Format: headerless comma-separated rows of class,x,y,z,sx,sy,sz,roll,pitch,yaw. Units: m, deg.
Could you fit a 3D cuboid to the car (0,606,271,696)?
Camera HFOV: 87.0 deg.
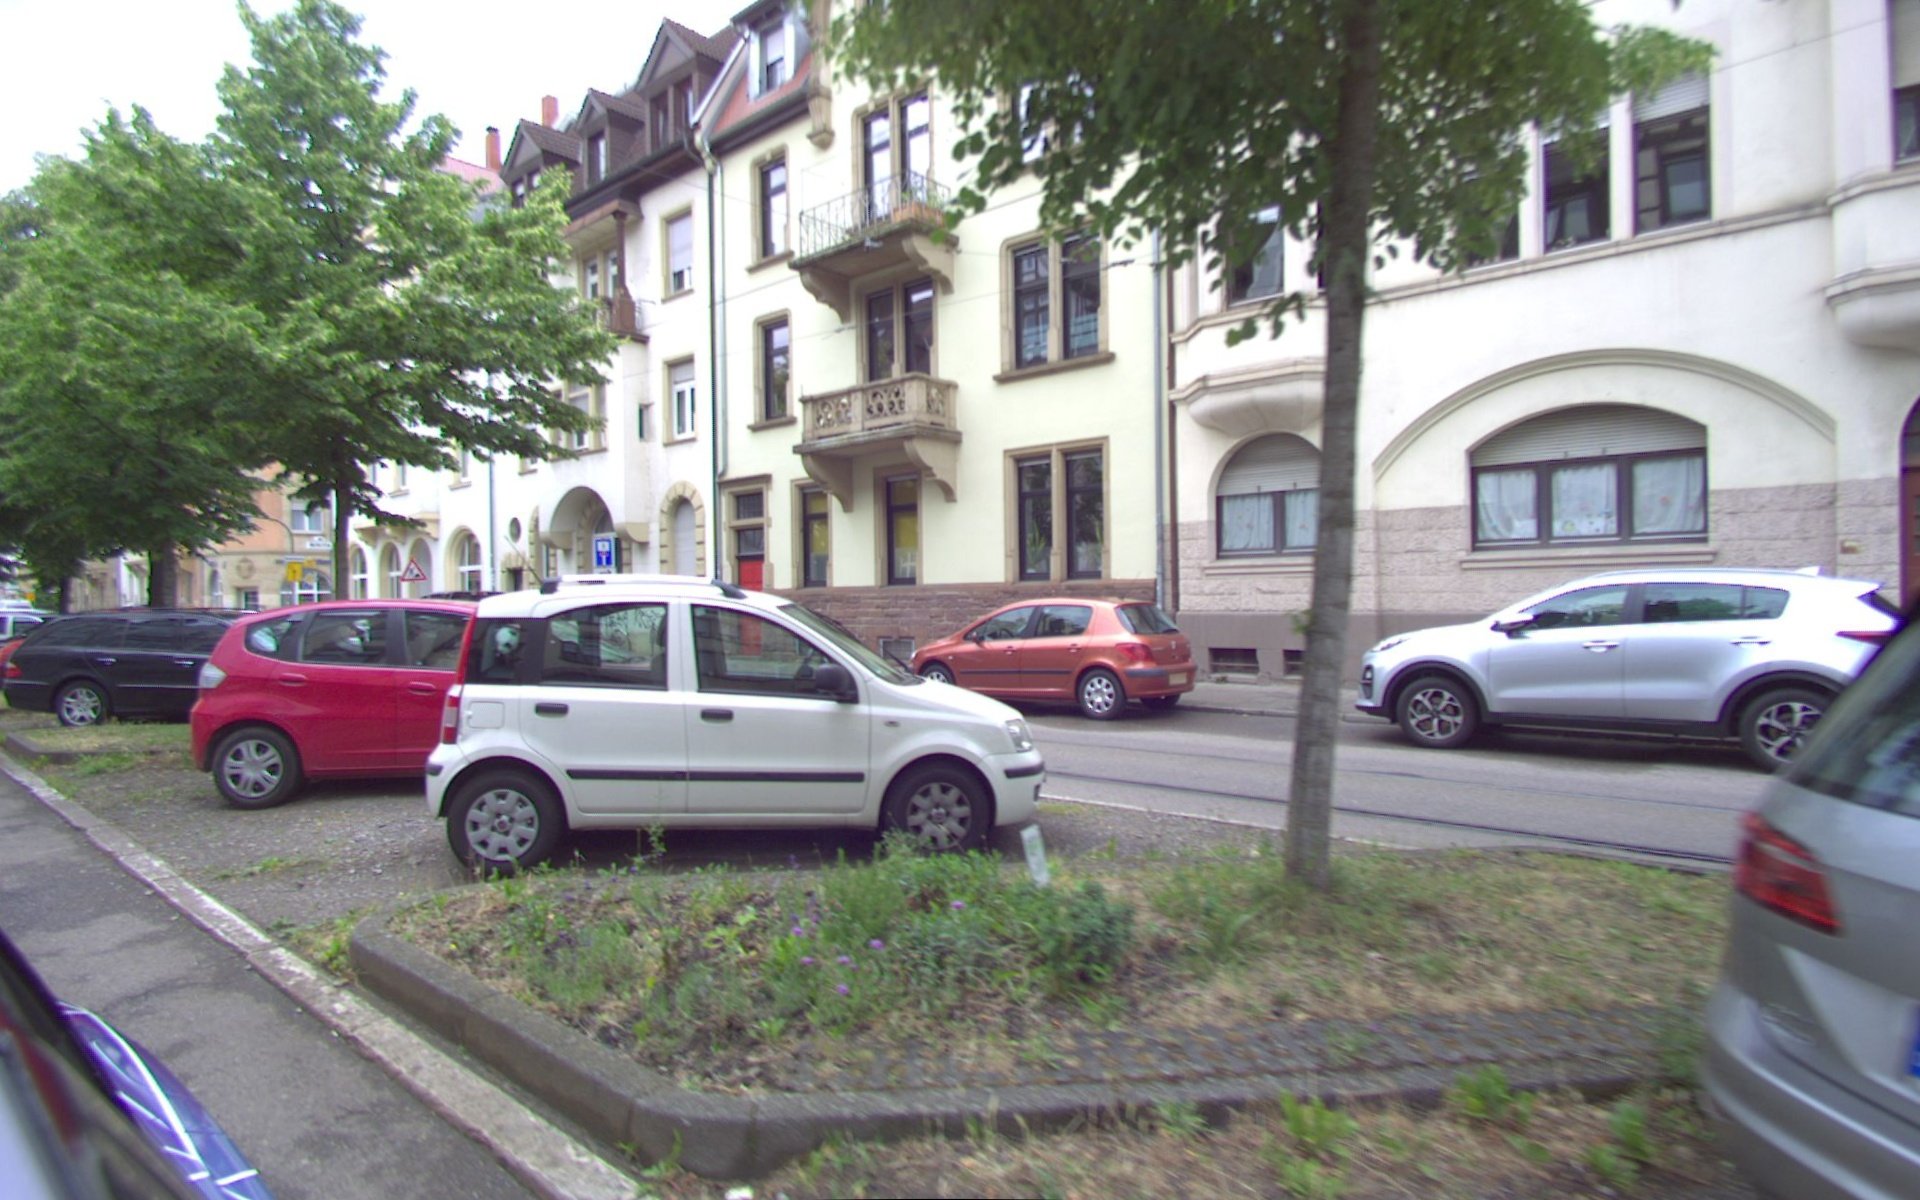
car,-14.484,0.867,17.653,3.680,1.399,1.792,-1,-2,-5

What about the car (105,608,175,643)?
car,-40.271,1.216,49.666,4.508,1.617,1.773,-1,0,39

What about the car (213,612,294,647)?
car,-26.348,1.080,37.726,3.377,1.185,1.619,-1,0,39

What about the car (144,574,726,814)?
car,-3.948,0.650,8.144,3.756,1.538,1.677,-3,1,-4

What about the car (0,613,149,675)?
car,-22.699,1.084,24.851,3.935,1.426,1.902,-1,-2,-11

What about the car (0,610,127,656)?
car,-30.391,1.087,33.608,3.931,1.426,1.904,-1,-2,-29

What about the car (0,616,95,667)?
car,-27.863,1.226,29.267,3.935,1.426,1.902,-1,-2,-11

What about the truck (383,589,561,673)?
truck,-12.440,0.724,25.558,6.066,1.870,2.121,-1,0,45

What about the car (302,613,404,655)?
car,-18.595,1.015,30.966,3.377,1.185,1.619,-1,0,39

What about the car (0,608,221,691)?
car,-17.151,0.960,19.802,3.939,1.478,1.900,-1,-2,-5

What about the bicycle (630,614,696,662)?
bicycle,-7.452,0.943,25.356,1.915,1.135,0.605,-1,3,41

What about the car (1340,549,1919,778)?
car,6.090,0.491,9.327,4.488,1.672,1.833,-1,0,39

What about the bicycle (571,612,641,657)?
bicycle,-9.436,0.930,26.954,1.908,1.135,0.607,-2,2,30

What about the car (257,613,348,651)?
car,-22.127,1.045,34.036,3.377,1.185,1.619,-1,0,39

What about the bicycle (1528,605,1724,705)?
bicycle,7.906,0.620,12.073,1.868,1.096,0.647,-1,0,43

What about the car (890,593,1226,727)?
car,1.219,0.718,13.632,4.189,1.534,1.833,-1,0,39

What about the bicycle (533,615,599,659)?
bicycle,-11.012,1.038,28.289,1.908,1.135,0.607,-2,2,30

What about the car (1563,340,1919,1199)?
car,3.314,0.473,1.327,4.140,1.621,1.728,0,1,-8

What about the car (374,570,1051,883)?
car,-1.301,0.605,5.998,3.374,1.538,1.693,0,1,-7

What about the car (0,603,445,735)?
car,-9.463,0.826,13.161,4.539,1.477,1.887,-1,0,-3
